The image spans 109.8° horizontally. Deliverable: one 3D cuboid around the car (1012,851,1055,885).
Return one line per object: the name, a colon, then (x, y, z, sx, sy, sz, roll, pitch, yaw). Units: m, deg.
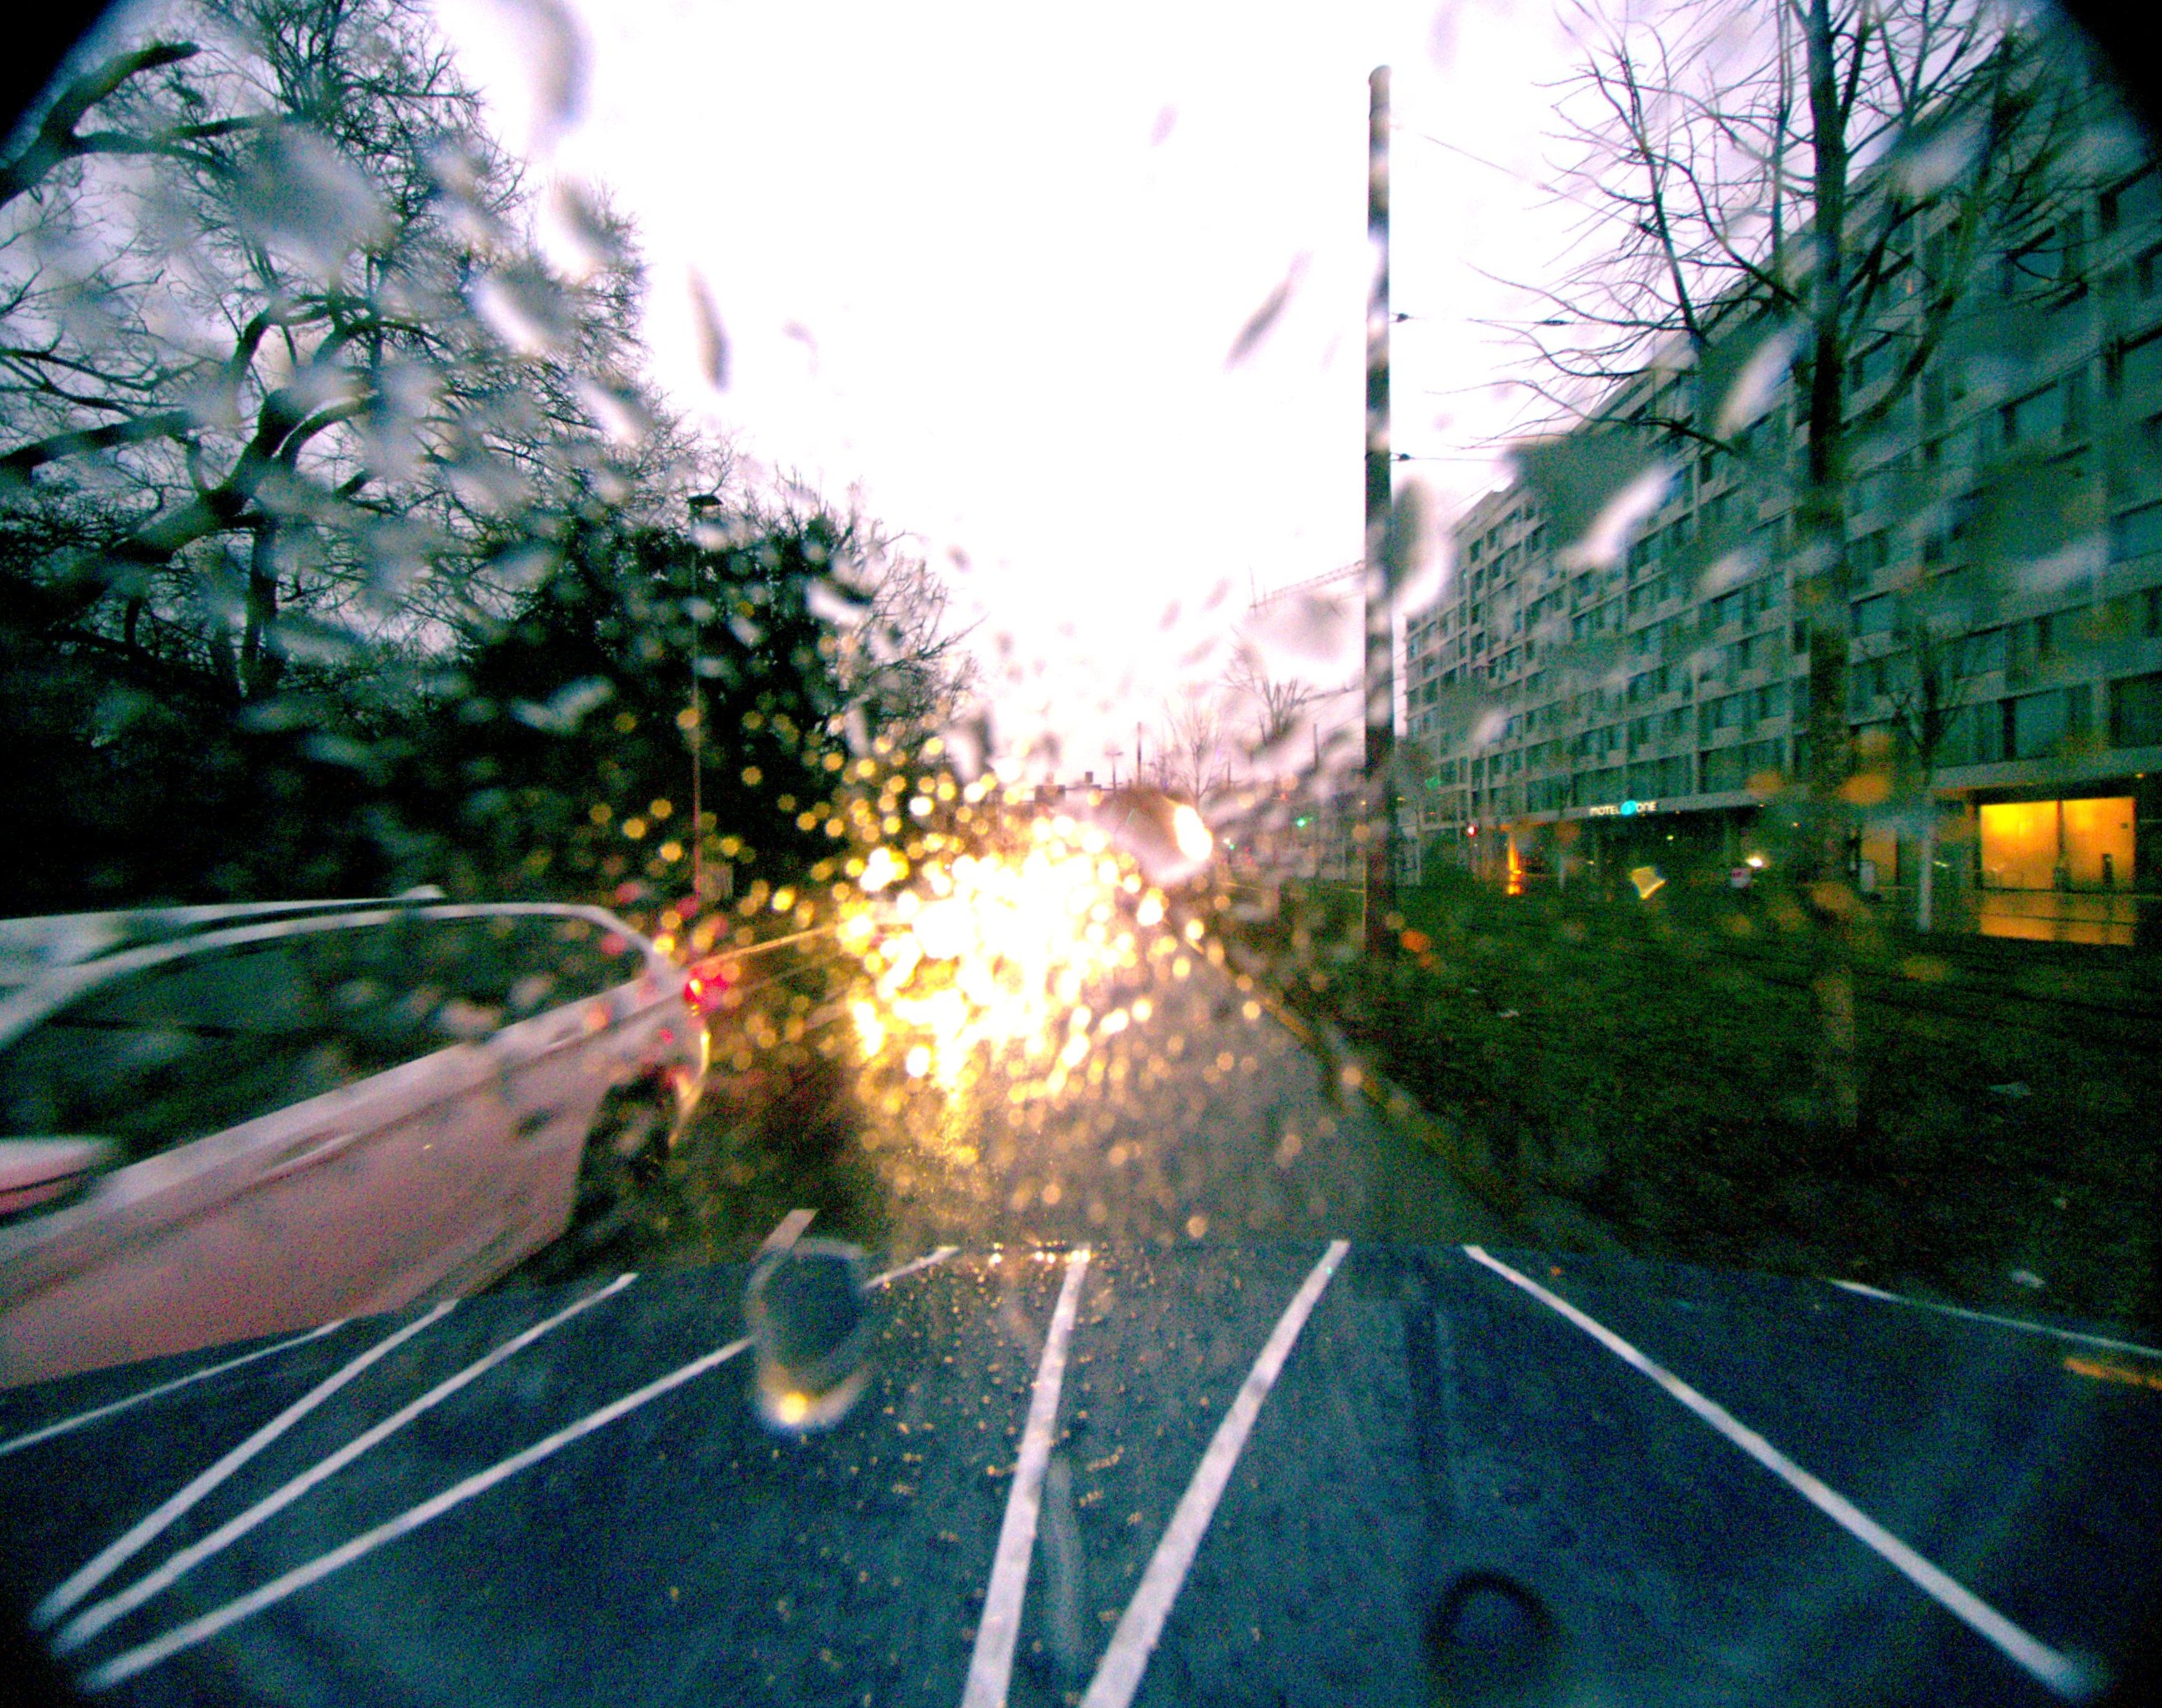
car: (-2.490, 0.709, 40.174, 2.074, 1.618, 4.266, -2, 0, -3)

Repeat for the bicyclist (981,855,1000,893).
bicyclist: (-5.420, 1.178, 45.596, 0.967, 2.210, 0.935, -2, 1, 0)

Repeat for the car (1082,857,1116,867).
car: (2.278, 1.028, 95.888, 3.992, 1.300, 1.820, 0, 0, 17)

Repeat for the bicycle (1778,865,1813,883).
bicycle: (36.317, 1.012, 38.641, 1.349, 0.849, 0.465, -2, 1, -1)

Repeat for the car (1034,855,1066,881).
car: (-2.159, 0.971, 53.756, 1.998, 1.618, 4.268, -2, 0, 1)

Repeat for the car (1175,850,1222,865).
car: (13.623, 0.430, 88.570, 5.028, 1.659, 2.093, 0, 0, 39)

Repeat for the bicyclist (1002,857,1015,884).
bicyclist: (-4.616, 1.026, 48.669, 0.691, 1.675, 0.593, -2, 1, 1)

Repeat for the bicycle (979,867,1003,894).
bicycle: (-5.391, 1.551, 45.734, 0.967, 1.442, 3.389, -2, 0, 0)

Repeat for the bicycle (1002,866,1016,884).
bicycle: (-4.598, 1.343, 48.686, 0.691, 1.036, 1.721, -2, 1, 1)

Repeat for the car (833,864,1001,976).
car: (-2.561, 0.970, 12.960, 1.886, 1.552, 4.171, 0, 0, 1)

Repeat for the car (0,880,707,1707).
car: (-2.891, 0.916, 1.713, 1.868, 1.547, 4.936, 0, 0, -3)

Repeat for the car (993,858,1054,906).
car: (-2.162, 1.013, 29.790, 2.073, 1.618, 4.267, -2, 0, -1)
